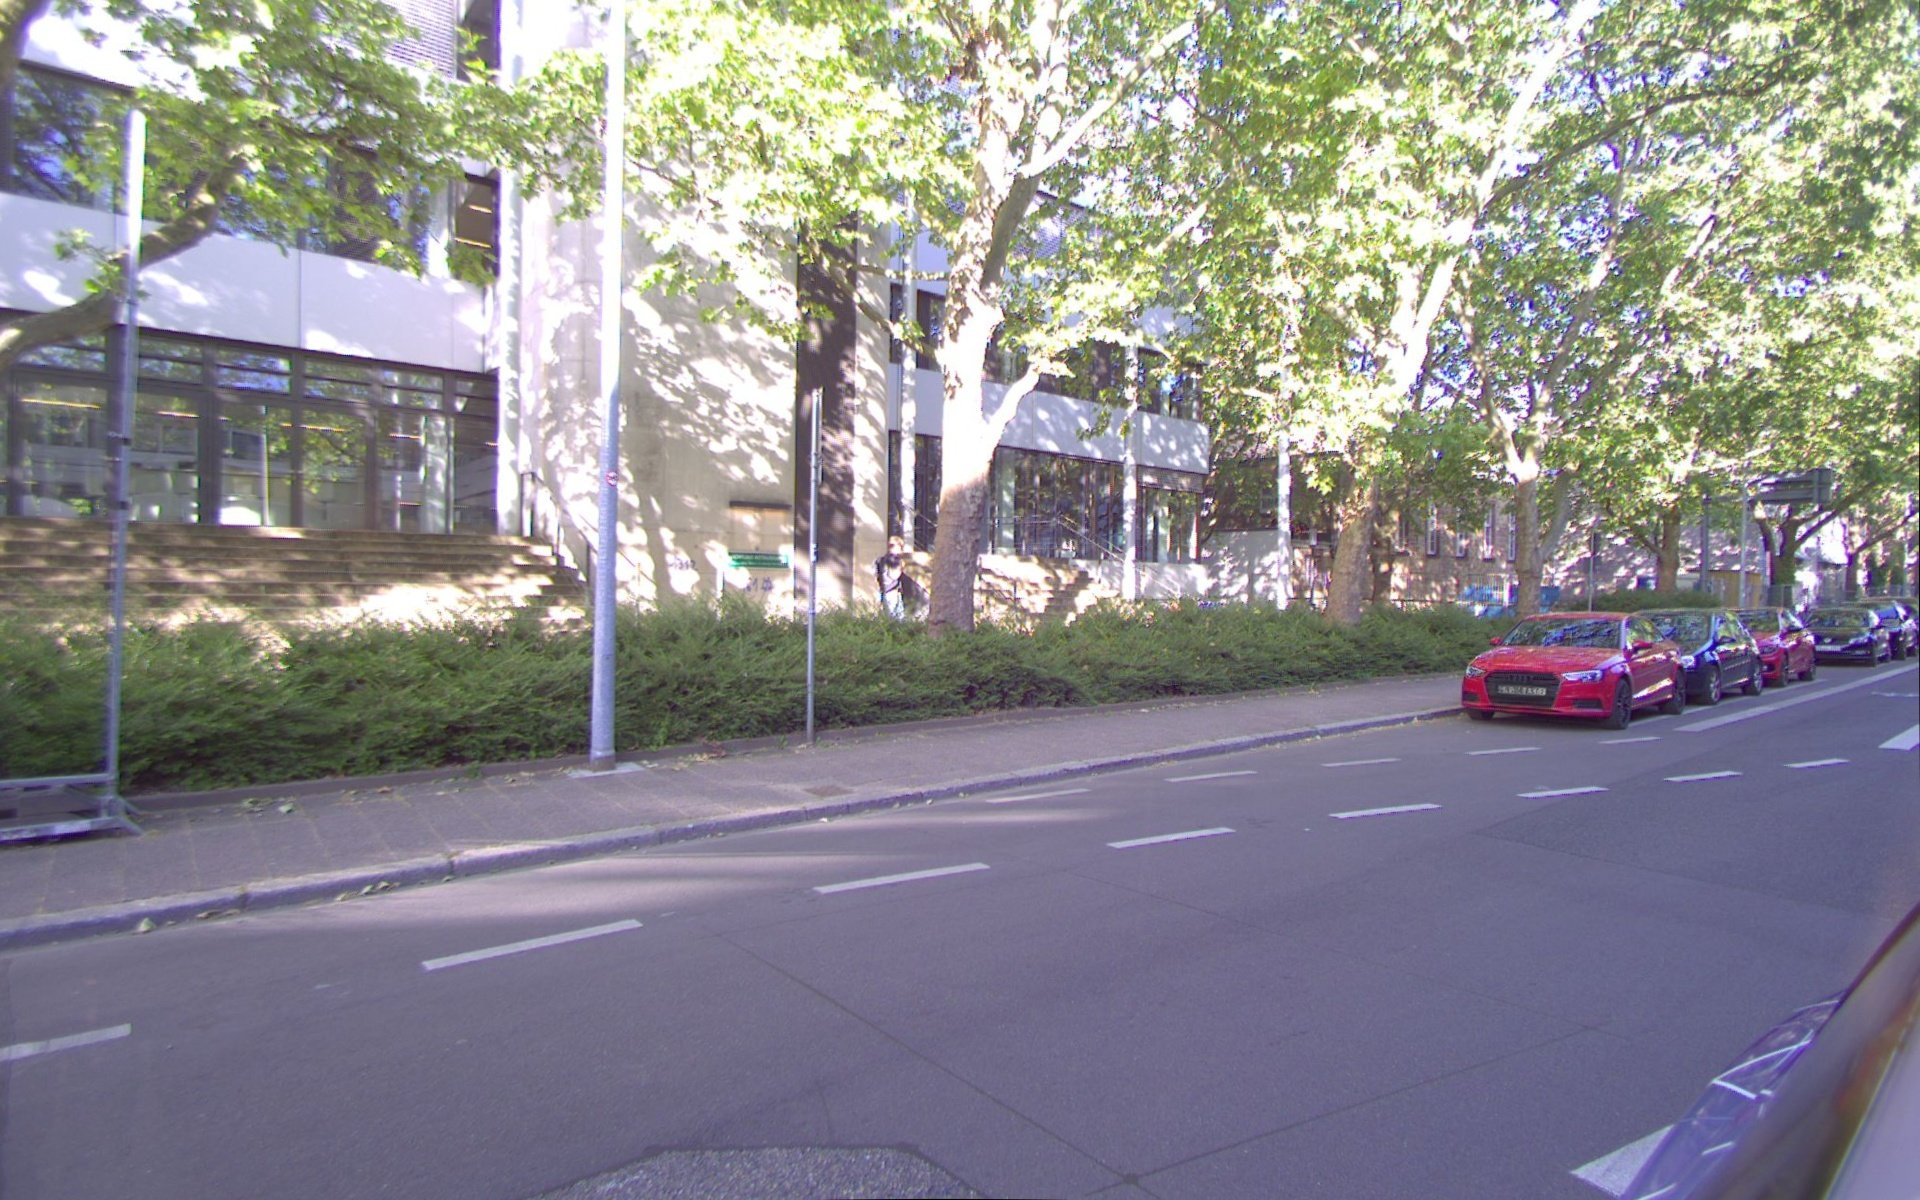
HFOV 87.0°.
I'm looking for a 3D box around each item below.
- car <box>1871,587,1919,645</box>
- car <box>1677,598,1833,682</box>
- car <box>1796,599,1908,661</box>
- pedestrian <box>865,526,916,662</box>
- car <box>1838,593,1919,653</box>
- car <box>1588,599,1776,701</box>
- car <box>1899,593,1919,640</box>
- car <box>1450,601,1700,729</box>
[{"bbox_3d":[31.172,0.471,33.021,4.497,1.814,1.632,-1,0,-41],"label":"car"},{"bbox_3d":[15.743,0.707,19.980,3.854,1.467,1.691,-1,0,-40],"label":"car"},{"bbox_3d":[22.948,0.710,25.995,3.855,1.441,1.691,-1,0,-41],"label":"car"},{"bbox_3d":[-1.068,-0.095,15.536,0.549,2.039,0.555,0,0,38],"label":"pedestrian"},{"bbox_3d":[26.633,0.602,29.052,4.158,1.598,1.632,-1,0,-41],"label":"car"},{"bbox_3d":[11.855,0.729,16.553,3.632,1.436,1.668,-1,0,-40],"label":"car"},{"bbox_3d":[35.535,0.570,36.792,4.497,1.633,1.632,-1,0,-41],"label":"car"},{"bbox_3d":[8.300,0.736,13.524,3.931,1.409,1.792,-1,1,-42],"label":"car"}]
